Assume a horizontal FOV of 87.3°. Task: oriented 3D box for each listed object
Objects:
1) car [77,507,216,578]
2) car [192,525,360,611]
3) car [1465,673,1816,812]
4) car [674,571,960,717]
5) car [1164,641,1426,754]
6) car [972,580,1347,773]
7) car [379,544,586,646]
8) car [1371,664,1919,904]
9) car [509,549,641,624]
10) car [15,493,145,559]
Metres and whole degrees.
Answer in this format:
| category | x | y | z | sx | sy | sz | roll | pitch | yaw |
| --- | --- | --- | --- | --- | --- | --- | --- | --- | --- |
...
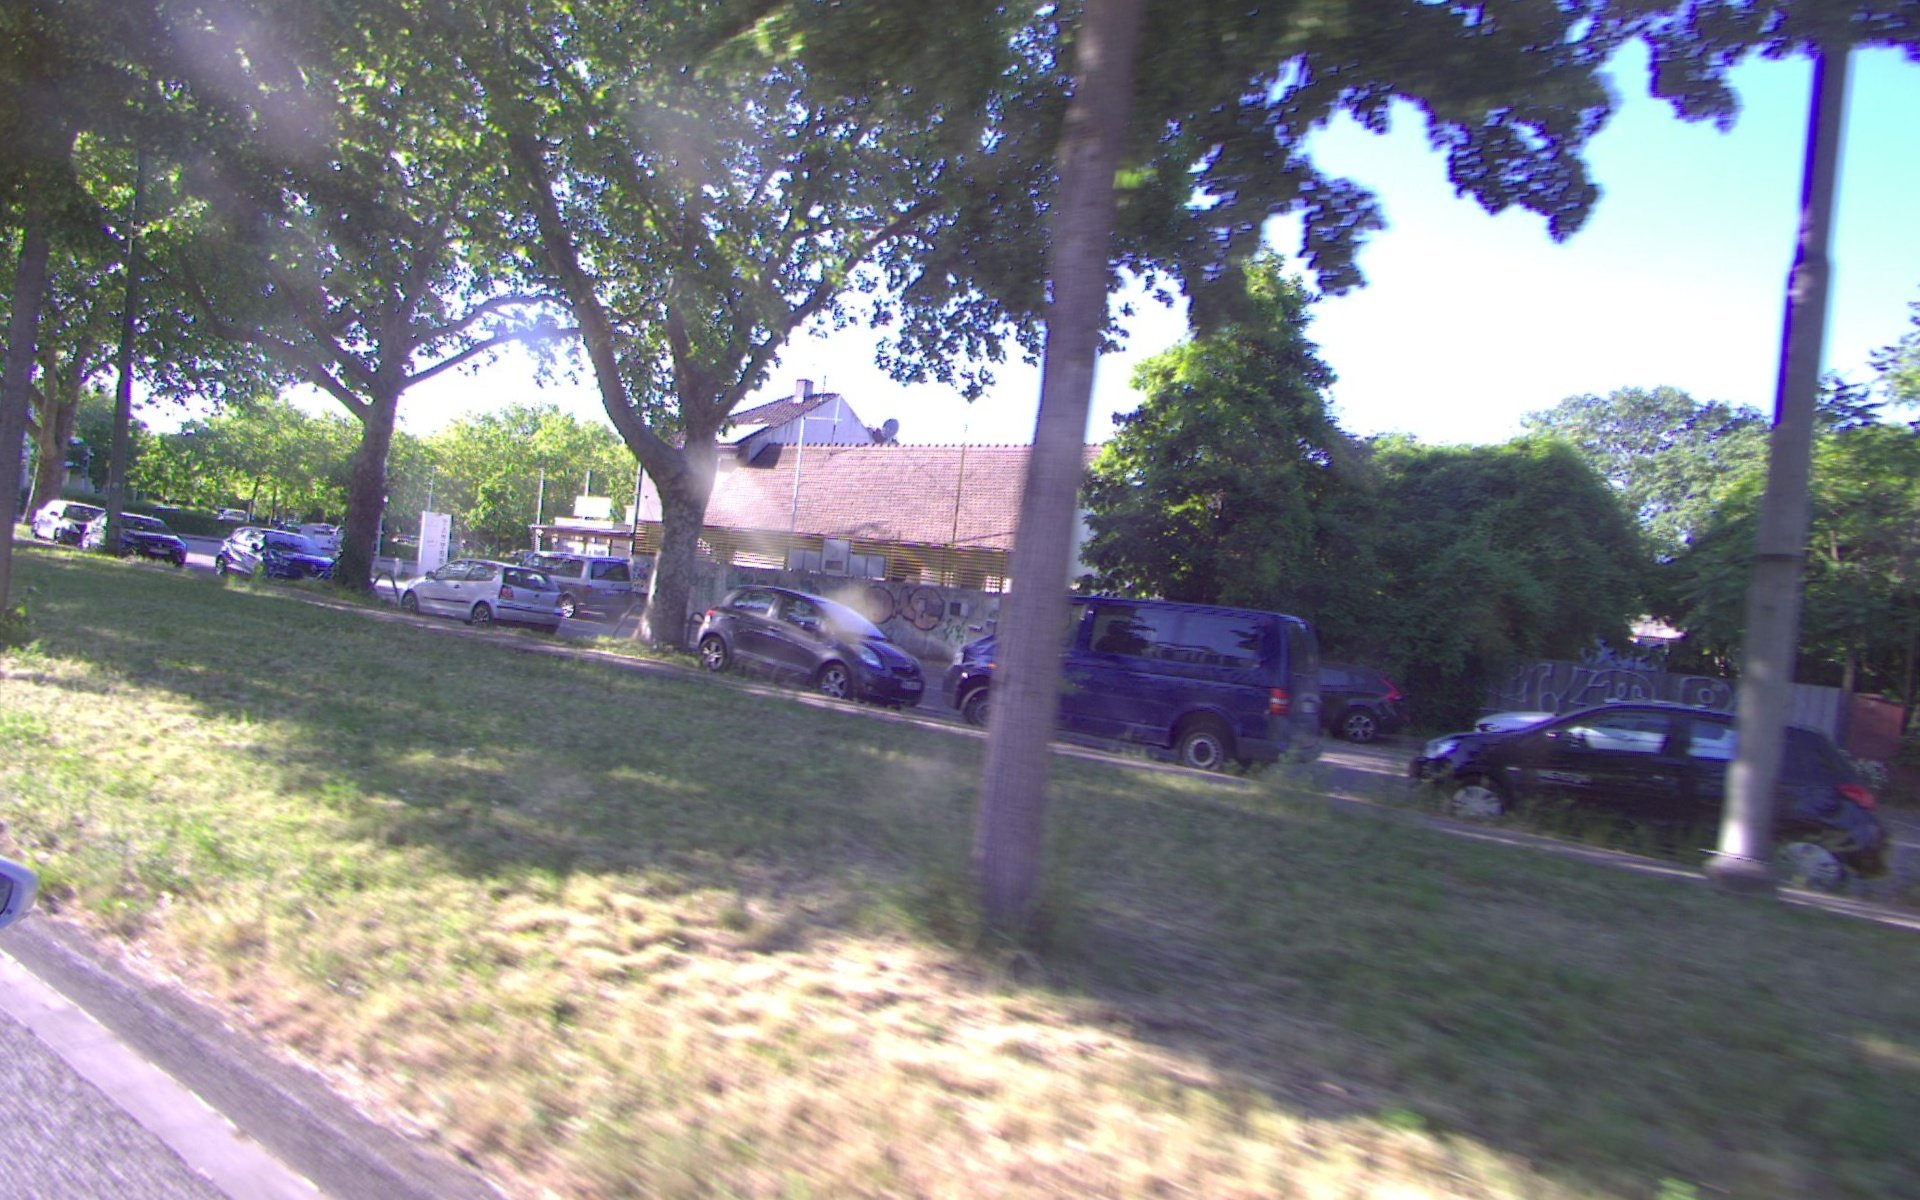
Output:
| category | x | y | z | sx | sy | sz | roll | pitch | yaw |
| --- | --- | --- | --- | --- | --- | --- | --- | --- | --- |
| car | -25.301 | -1.799 | 31.269 | 3.931 | 1.703 | 1.876 | 6 | -2 | 29 |
| car | -17.719 | -0.834 | 26.045 | 3.931 | 1.703 | 1.876 | 6 | -2 | 29 |
| car | 11.327 | 2.296 | 17.167 | 4.612 | 1.502 | 1.872 | 6 | 1 | 31 |
| car | -2.226 | 0.651 | 15.379 | 3.936 | 1.703 | 1.874 | 6 | -2 | 34 |
| car | 6.714 | 1.871 | 20.310 | 4.612 | 1.566 | 1.872 | 6 | 1 | 31 |
| car | 2.396 | 0.862 | 12.213 | 3.932 | 1.703 | 1.876 | 6 | -2 | 30 |
| car | -10.001 | -0.109 | 21.042 | 3.931 | 1.705 | 1.874 | 6 | 0 | 29 |
| car | 6.176 | 1.569 | 9.530 | 3.932 | 1.383 | 1.876 | 6 | -2 | 30 |
| car | -12.427 | -0.439 | 32.400 | 3.938 | 2.039 | 1.993 | 6 | 1 | 35 |
| car | -29.143 | -2.454 | 33.309 | 3.932 | 1.703 | 1.876 | 6 | -2 | 29 |
